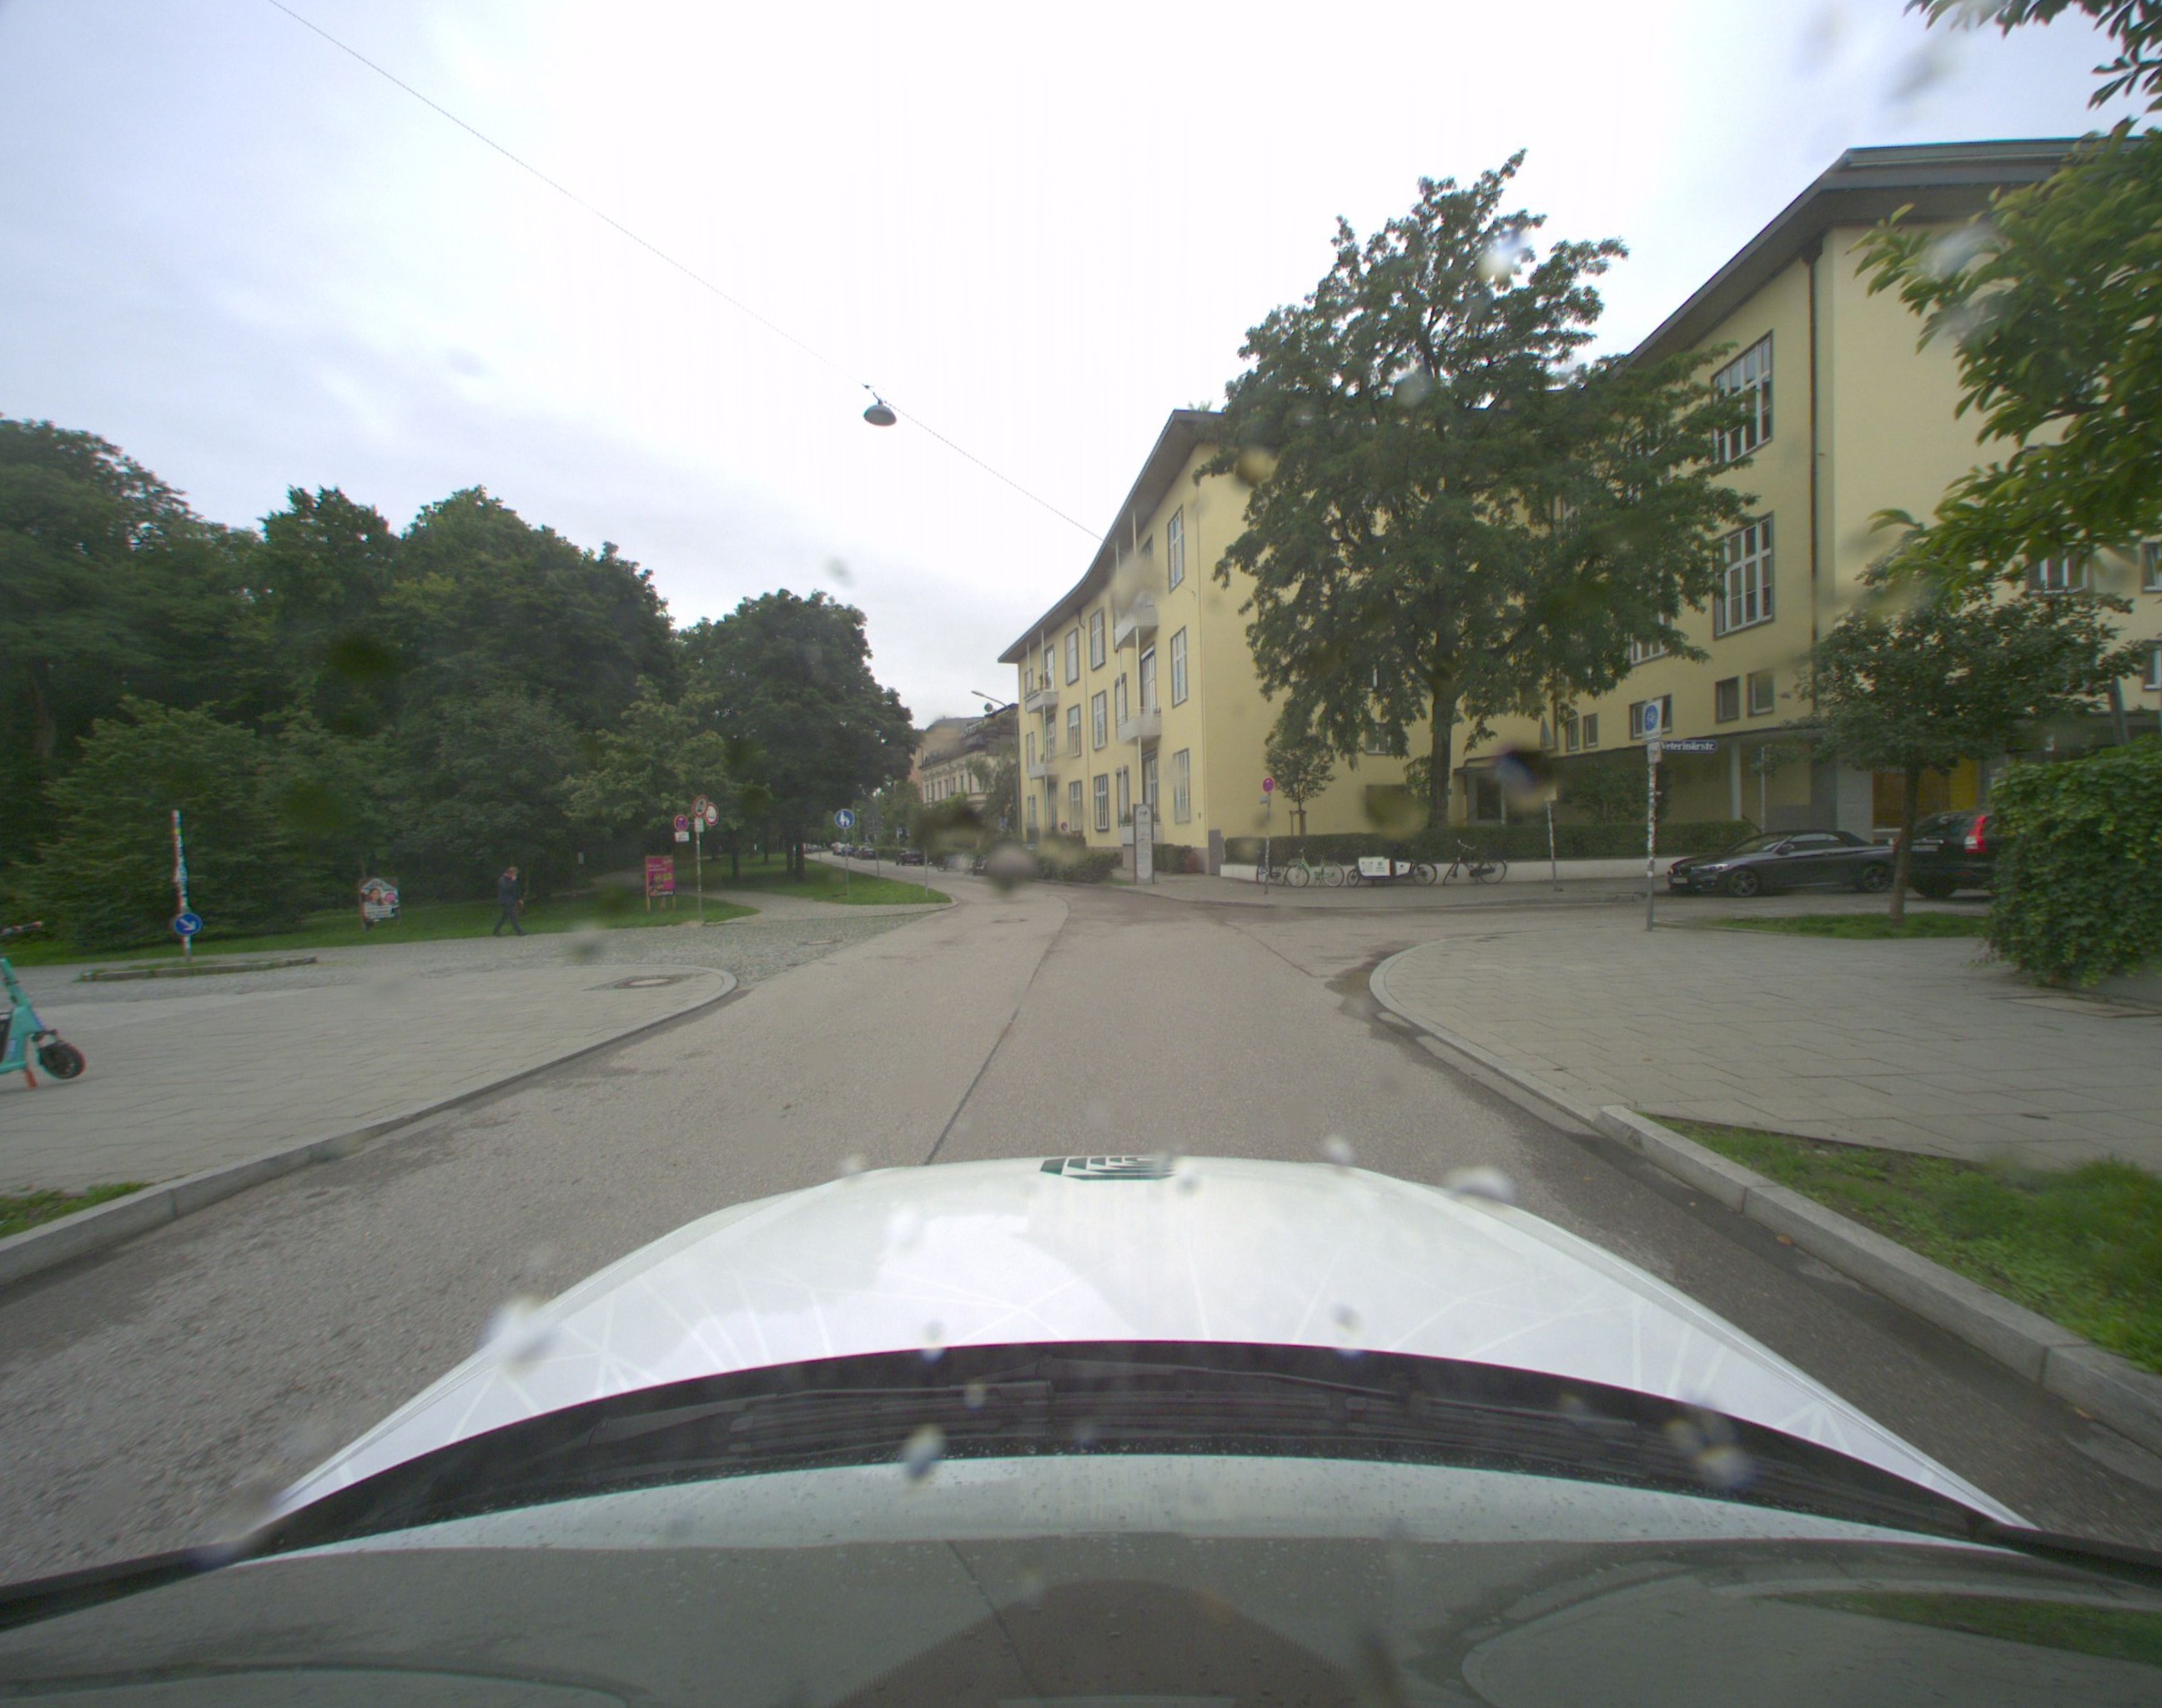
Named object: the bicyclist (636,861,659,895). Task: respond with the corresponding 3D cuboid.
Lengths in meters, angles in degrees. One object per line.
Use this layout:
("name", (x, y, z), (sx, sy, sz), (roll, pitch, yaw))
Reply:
("bicyclist", (-19.261, 1.069, 36.184), (0.637, 1.460, 0.634), (-1, 1, 37))

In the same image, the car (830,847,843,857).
("car", (-39.188, -0.302, 130.576), (1.651, 1.652, 4.254), (-2, 1, -21))

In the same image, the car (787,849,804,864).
("car", (-38.242, 0.346, 108.965), (2.001, 1.837, 3.971), (-2, 1, -21))

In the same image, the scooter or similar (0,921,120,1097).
("scooter or similar", (-8.118, 1.178, 6.061), (0.441, 1.219, 1.189), (-4, 0, 41))

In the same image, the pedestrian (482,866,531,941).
("pedestrian", (-14.101, 1.202, 20.005), (0.731, 1.752, 0.655), (-3, 1, -18))

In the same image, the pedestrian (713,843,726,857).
("pedestrian", (-53.065, -0.603, 119.604), (1.022, 1.945, 1.335), (-2, 1, 25))

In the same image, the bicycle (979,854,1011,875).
("bicycle", (-4.772, 0.566, 45.327), (0.570, 1.085, 1.946), (-2, 1, 35))

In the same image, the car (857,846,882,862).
("car", (-23.943, -0.035, 92.160), (2.185, 1.657, 4.472), (-2, 1, -22))

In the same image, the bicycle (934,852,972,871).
("bicycle", (-8.581, 0.504, 54.588), (2.344, 1.085, 0.686), (-3, 1, -27))

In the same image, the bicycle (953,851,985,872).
("bicycle", (-6.678, 0.434, 48.684), (0.755, 1.085, 2.154), (-2, 1, 28))

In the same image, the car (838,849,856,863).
("car", (-31.912, 0.254, 111.009), (1.883, 1.815, 3.971), (-2, 1, -22))

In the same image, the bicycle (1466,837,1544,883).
("bicycle", (11.232, 0.157, 21.601), (1.725, 1.150, 0.611), (-2, 1, 7))

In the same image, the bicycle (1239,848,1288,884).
("bicycle", (5.771, 0.361, 25.871), (0.609, 1.072, 2.208), (-3, 1, -13))

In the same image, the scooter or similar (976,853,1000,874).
("scooter or similar", (-5.208, 0.552, 45.719), (0.490, 1.088, 1.419), (-2, 1, 31))

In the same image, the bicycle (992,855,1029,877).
("bicycle", (-3.683, 0.613, 42.473), (1.831, 1.005, 0.573), (-3, 1, -24))

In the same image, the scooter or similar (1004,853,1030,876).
("scooter or similar", (-3.214, 0.528, 41.140), (0.490, 1.109, 1.419), (-2, 1, 31))

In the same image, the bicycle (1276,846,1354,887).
("bicycle", (6.732, 0.348, 23.550), (0.613, 1.117, 2.192), (-2, 1, -38))

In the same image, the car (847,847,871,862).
("car", (-26.583, 0.043, 97.571), (2.185, 1.657, 4.472), (-2, 1, -22))

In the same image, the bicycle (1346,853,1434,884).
("bicycle", (8.417, 0.396, 22.174), (2.190, 0.779, 0.614), (-2, 1, 24))

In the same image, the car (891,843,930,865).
("car", (-14.335, -0.032, 68.697), (1.853, 1.633, 4.294), (-2, 2, 8))

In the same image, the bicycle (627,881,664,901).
("bicycle", (-19.292, 1.643, 36.123), (0.434, 0.776, 1.370), (-1, 1, 38))

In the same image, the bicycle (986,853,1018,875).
("bicycle", (-4.328, 0.541, 44.729), (0.570, 1.085, 1.946), (-2, 1, 35))

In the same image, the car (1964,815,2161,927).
("car", (15.677, 0.144, 11.519), (4.351, 1.331, 1.850), (-3, 1, 1))

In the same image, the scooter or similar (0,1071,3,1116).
("scooter or similar", (-7.951, 1.209, 5.267), (1.172, 1.219, 0.603), (-4, 0, 6))

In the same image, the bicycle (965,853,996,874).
("bicycle", (-5.685, 0.511, 46.099), (0.631, 1.085, 1.998), (-2, 1, 28))

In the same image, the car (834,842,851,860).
("car", (-35.112, -0.436, 119.810), (1.883, 2.568, 4.896), (-2, 1, -22))

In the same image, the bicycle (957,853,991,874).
("bicycle", (-6.134, 0.519, 46.865), (0.689, 1.085, 2.353), (-2, 1, 28))

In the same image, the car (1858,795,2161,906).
("car", (17.400, -0.102, 14.937), (4.351, 1.694, 2.002), (-3, 1, 1))

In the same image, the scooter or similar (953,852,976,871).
("scooter or similar", (-7.540, 0.483, 52.825), (1.402, 1.088, 0.596), (-3, 1, -4))

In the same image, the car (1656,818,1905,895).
("car", (15.297, 0.054, 17.974), (3.958, 1.435, 1.608), (-3, 0, 4))
